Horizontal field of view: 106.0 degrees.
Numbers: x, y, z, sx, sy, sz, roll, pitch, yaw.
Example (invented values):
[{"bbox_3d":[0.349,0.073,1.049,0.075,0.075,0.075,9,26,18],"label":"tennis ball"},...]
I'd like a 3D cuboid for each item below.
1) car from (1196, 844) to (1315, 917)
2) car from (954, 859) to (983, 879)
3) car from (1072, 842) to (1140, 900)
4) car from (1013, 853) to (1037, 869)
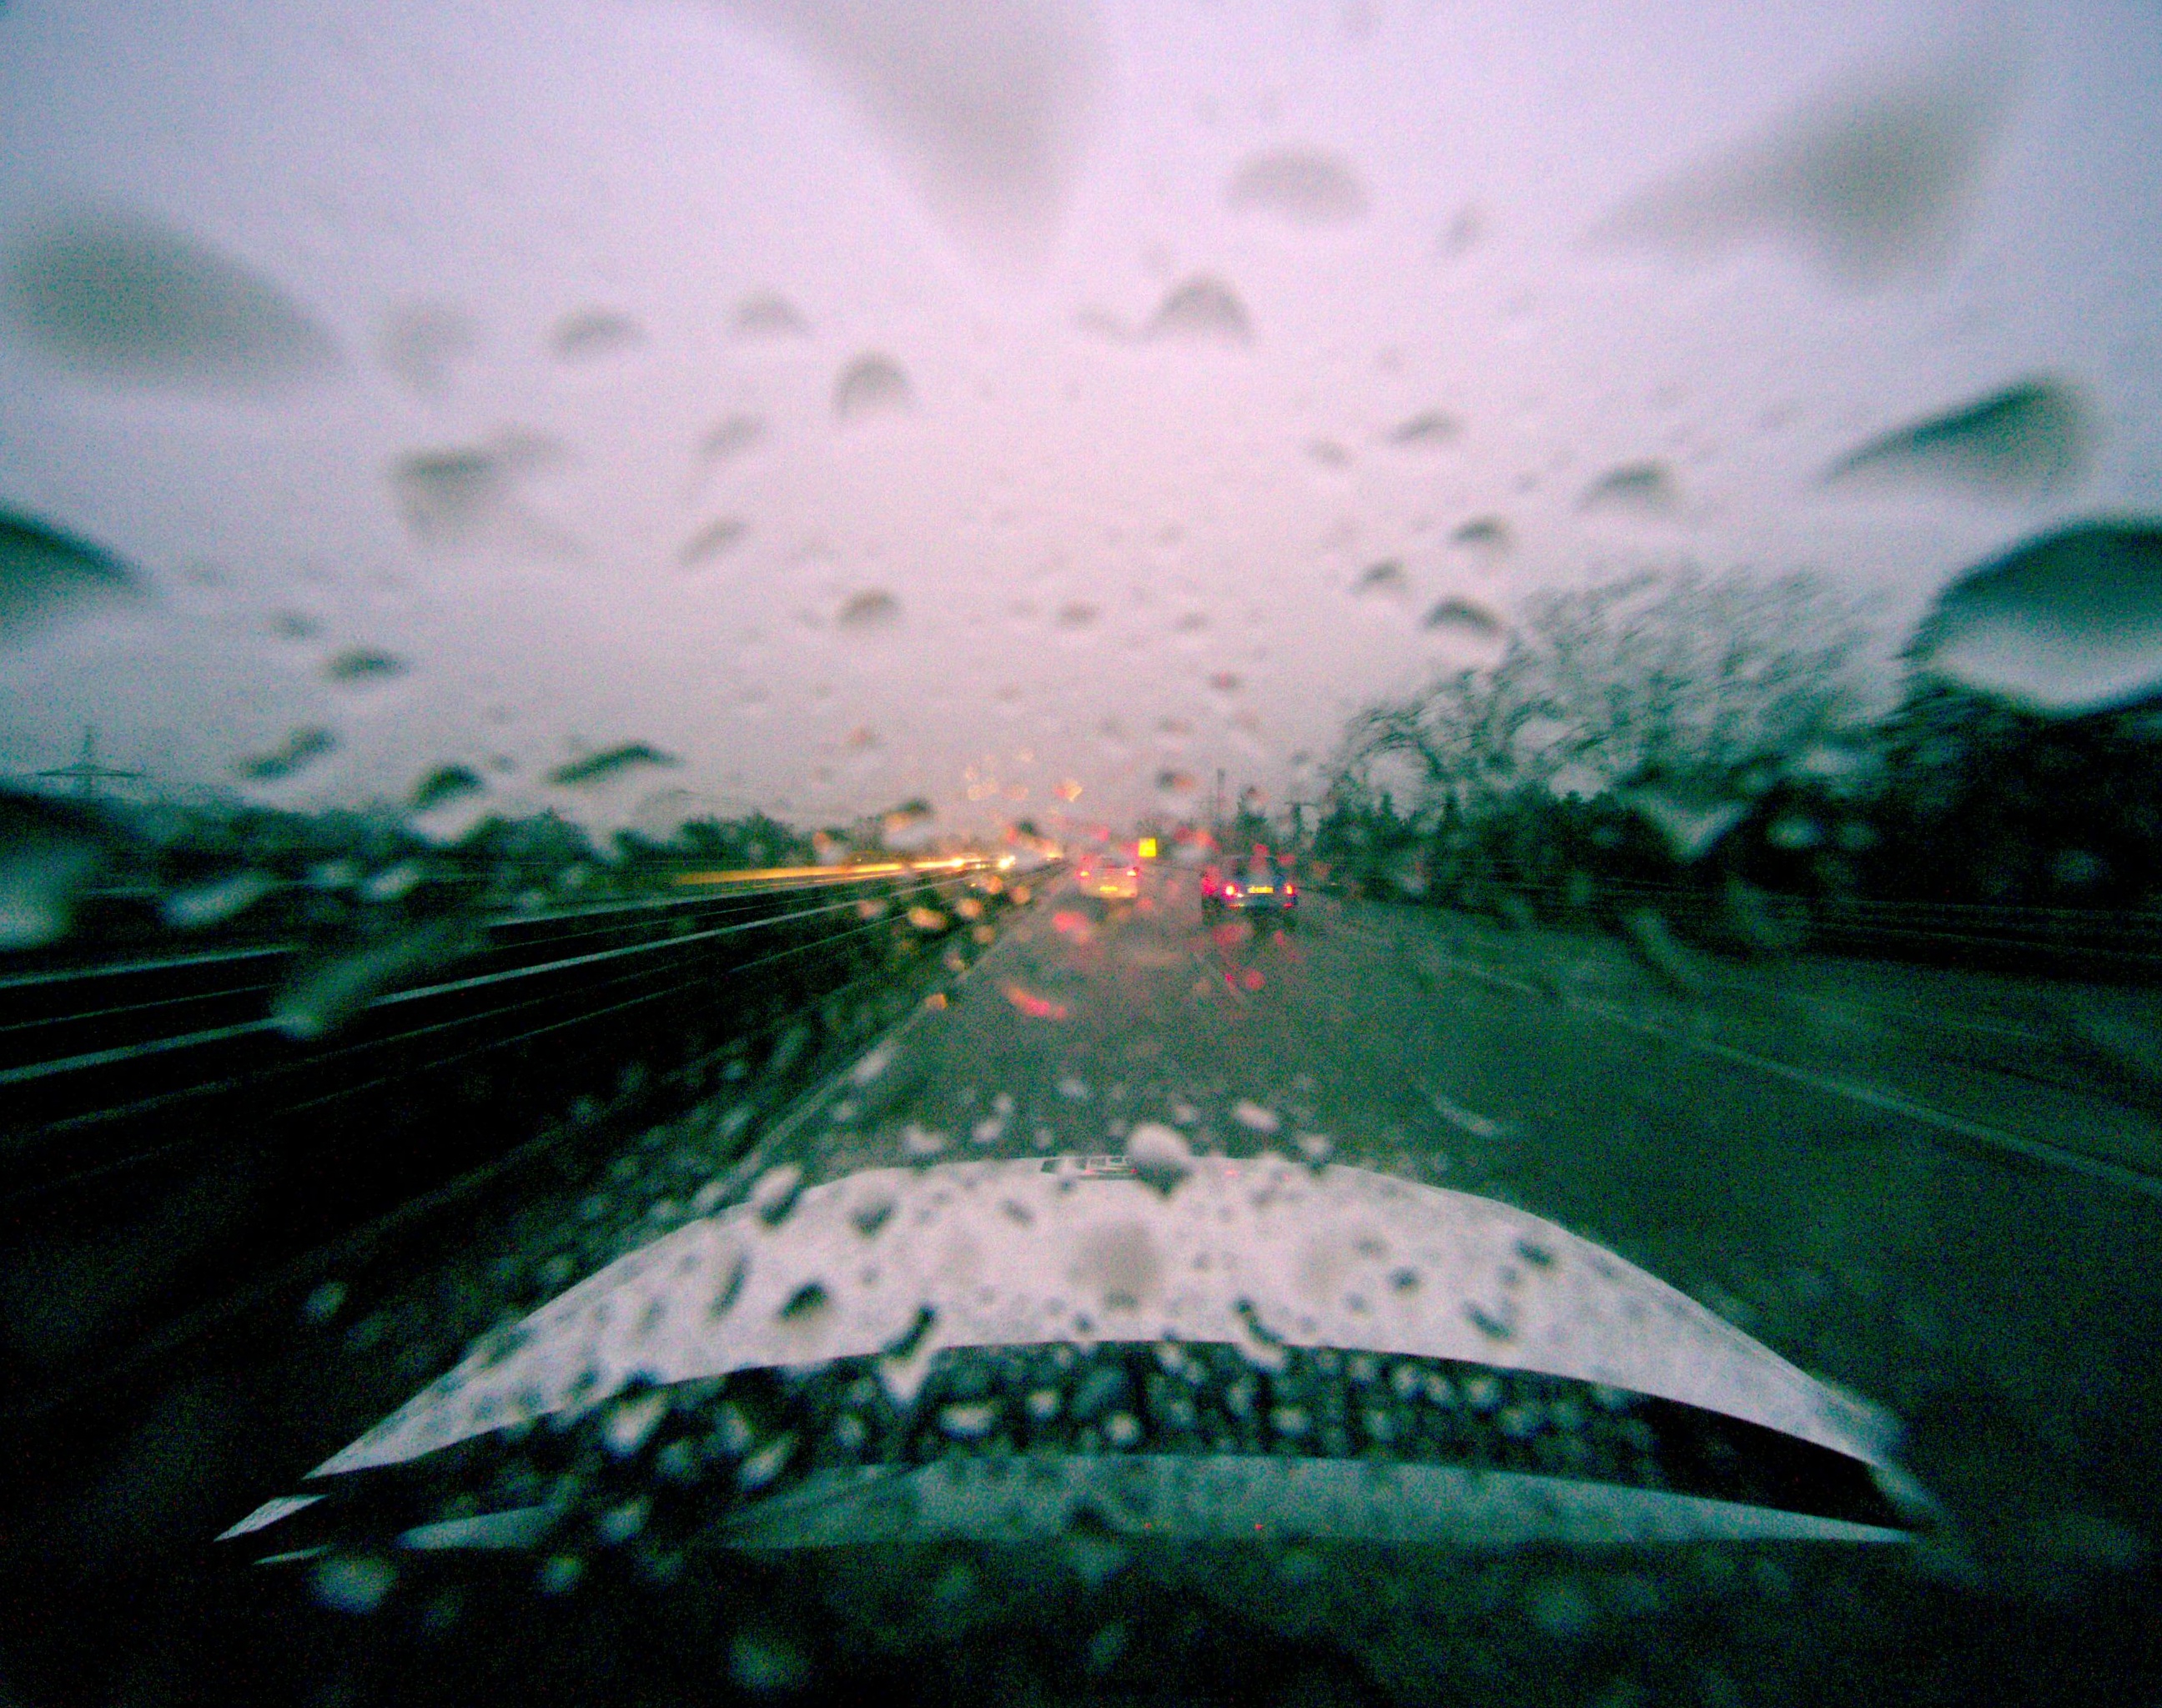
[{"bbox_3d":[3.859,0.516,18.711,1.840,1.453,4.148,-1,1,0],"label":"car"},{"bbox_3d":[-9.398,1.237,68.301,1.849,1.566,3.922,-1,1,0],"label":"car"},{"bbox_3d":[0.693,0.473,25.390,1.841,1.636,3.764,-1,0,-2],"label":"car"},{"bbox_3d":[-5.612,0.676,82.369,1.957,1.502,4.374,0,0,1],"label":"car"}]
